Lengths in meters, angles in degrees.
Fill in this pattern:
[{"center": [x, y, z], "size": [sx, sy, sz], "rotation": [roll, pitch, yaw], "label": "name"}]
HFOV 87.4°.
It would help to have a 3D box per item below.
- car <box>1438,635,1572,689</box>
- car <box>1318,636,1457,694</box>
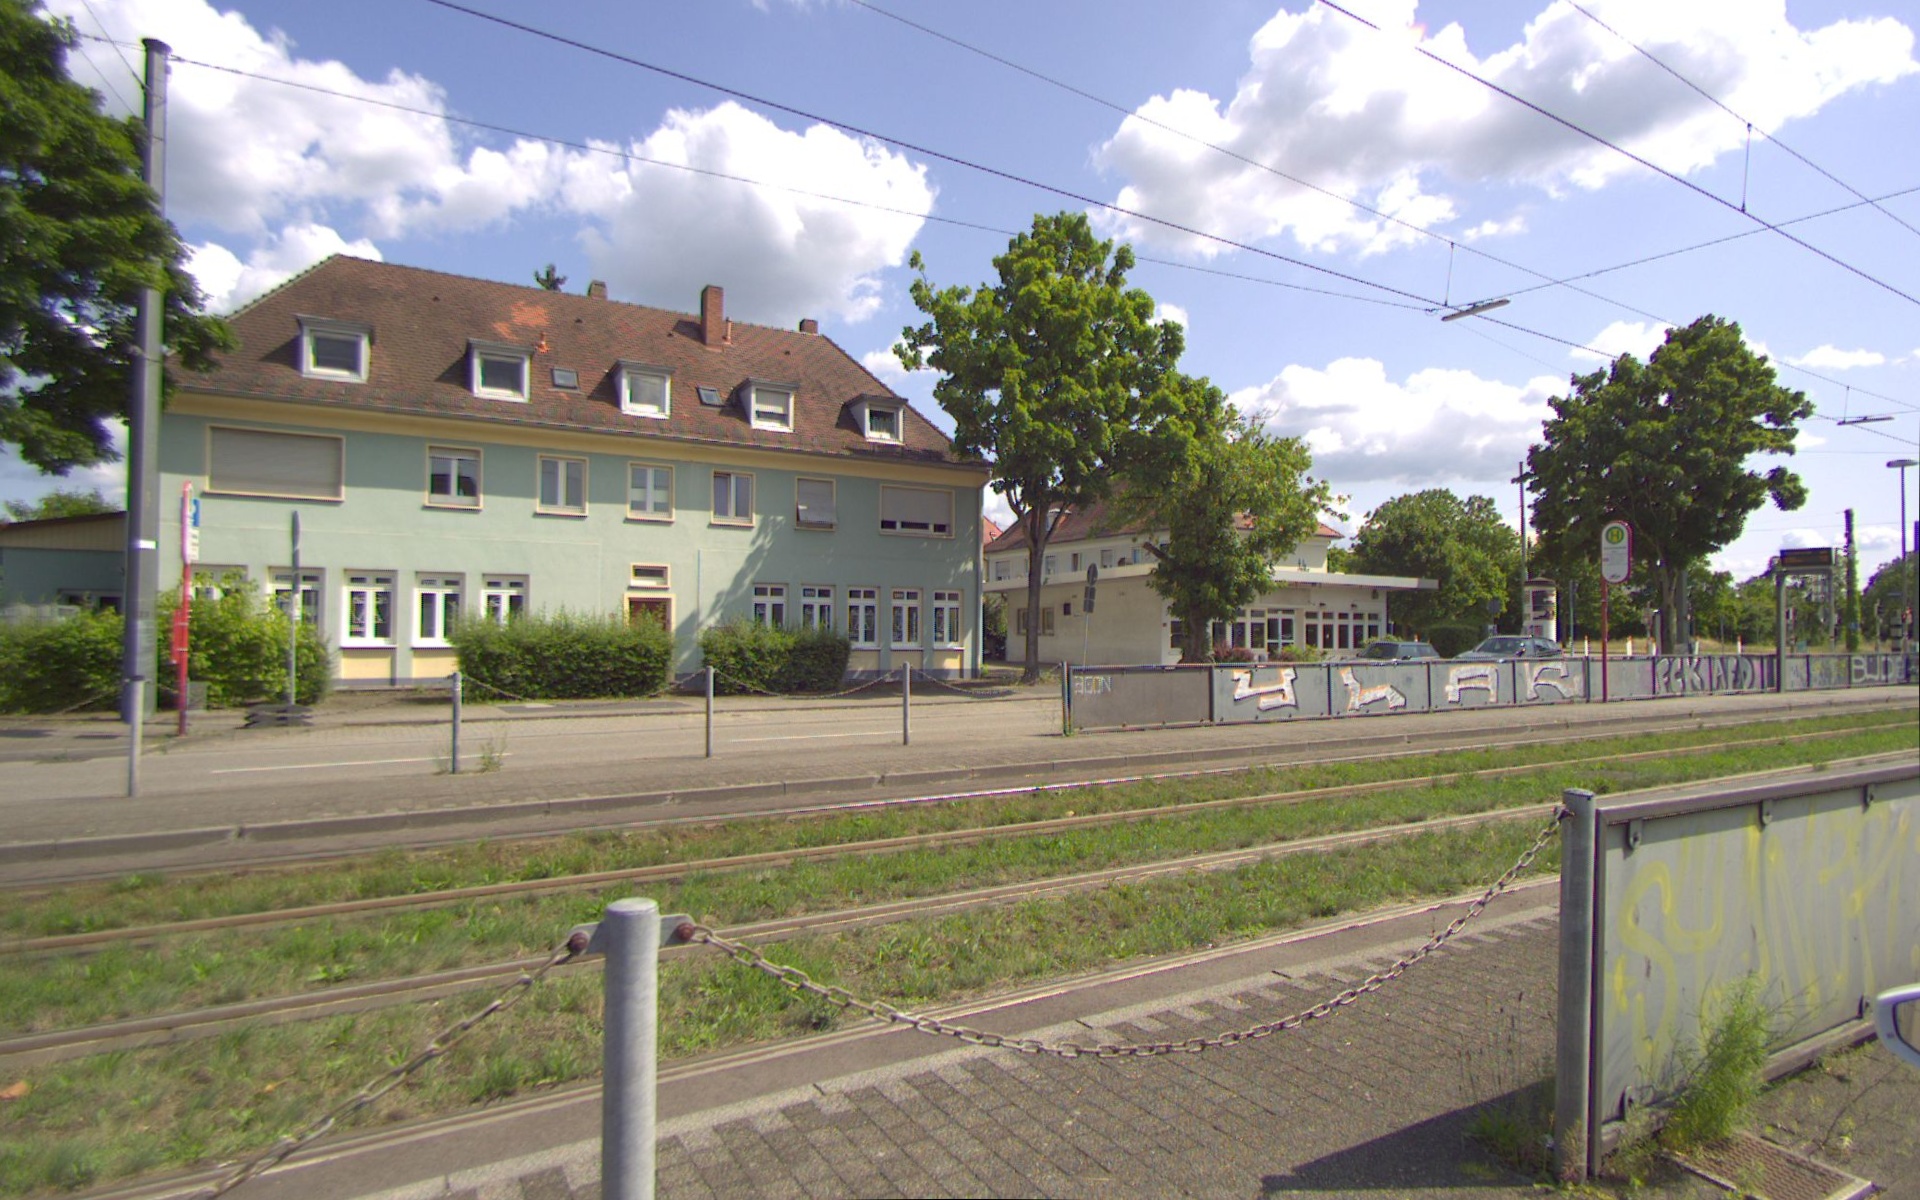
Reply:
[{"center": [17.912, 1.970, 32.966], "size": [4.707, 1.635, 2.046], "rotation": [1, -2, -36], "label": "car"}, {"center": [12.666, 1.871, 29.727], "size": [3.882, 1.605, 1.779], "rotation": [1, -2, -29], "label": "car"}]
